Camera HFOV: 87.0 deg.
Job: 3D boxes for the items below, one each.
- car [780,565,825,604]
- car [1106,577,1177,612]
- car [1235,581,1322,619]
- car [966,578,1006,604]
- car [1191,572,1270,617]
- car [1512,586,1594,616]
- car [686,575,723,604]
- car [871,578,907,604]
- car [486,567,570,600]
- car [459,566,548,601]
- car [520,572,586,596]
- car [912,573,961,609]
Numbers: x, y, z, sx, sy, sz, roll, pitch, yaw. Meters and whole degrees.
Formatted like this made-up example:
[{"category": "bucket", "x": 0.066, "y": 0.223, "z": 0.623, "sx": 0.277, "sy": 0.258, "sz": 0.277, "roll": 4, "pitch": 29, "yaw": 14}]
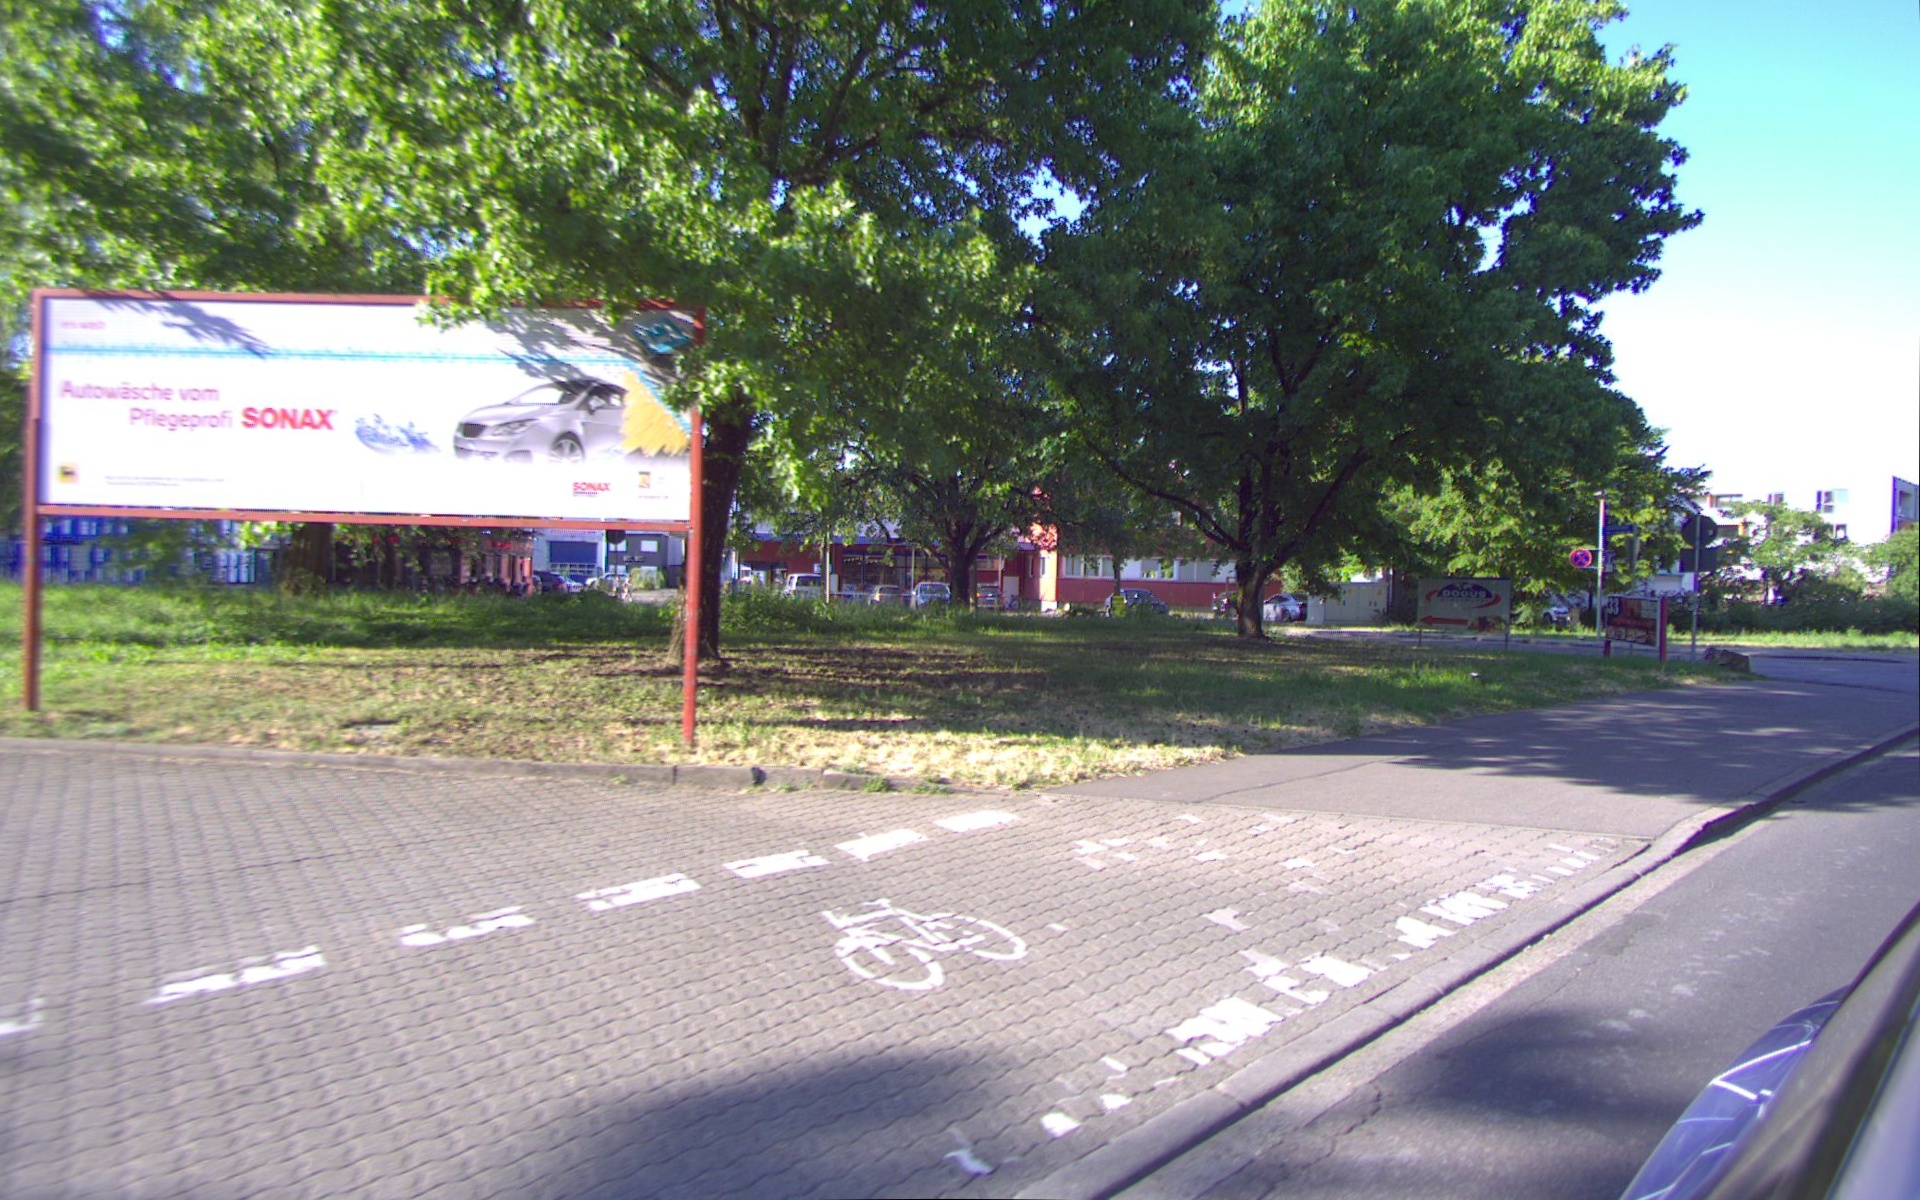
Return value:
[{"category": "car", "x": -8.683, "y": -0.793, "z": 55.537, "sx": 1.852, "sy": 2.000, "sz": 4.657, "roll": 0, "pitch": -1, "yaw": -16}, {"category": "car", "x": 8.138, "y": -0.232, "z": 45.905, "sx": 1.752, "sy": 1.495, "sz": 4.674, "roll": 0, "pitch": -1, "yaw": -9}, {"category": "car", "x": 14.348, "y": -0.022, "z": 45.806, "sx": 1.959, "sy": 1.614, "sz": 4.452, "roll": 0, "pitch": 0, "yaw": -9}, {"category": "car", "x": 1.437, "y": -0.498, "z": 58.037, "sx": 1.651, "sy": 1.444, "sz": 3.558, "roll": 0, "pitch": -1, "yaw": -9}, {"category": "car", "x": 12.032, "y": -0.291, "z": 45.295, "sx": 1.671, "sy": 1.840, "sz": 4.454, "roll": 1, "pitch": 2, "yaw": -9}, {"category": "car", "x": 34.918, "y": 0.018, "z": 59.688, "sx": 1.869, "sy": 1.593, "sz": 4.010, "roll": 0, "pitch": 2, "yaw": -14}, {"category": "car", "x": -13.689, "y": -0.541, "z": 54.351, "sx": 1.651, "sy": 1.501, "sz": 3.950, "roll": 0, "pitch": -1, "yaw": -10}, {"category": "car", "x": -3.989, "y": -0.458, "z": 56.570, "sx": 1.651, "sy": 1.368, "sz": 3.558, "roll": 0, "pitch": -1, "yaw": -9}, {"category": "car", "x": -23.274, "y": -0.860, "z": 54.625, "sx": 3.787, "sy": 1.710, "sz": 1.703, "roll": 0, "pitch": -1, "yaw": -6}, {"category": "car", "x": -23.139, "y": -0.835, "z": 51.409, "sx": 3.787, "sy": 1.710, "sz": 1.703, "roll": 0, "pitch": -1, "yaw": -6}, {"category": "car", "x": -25.878, "y": -1.026, "z": 64.438, "sx": 3.574, "sy": 1.481, "sz": 1.704, "roll": 0, "pitch": -1, "yaw": -6}, {"category": "car", "x": -1.071, "y": -0.350, "z": 44.277, "sx": 1.752, "sy": 1.495, "sz": 4.202, "roll": 0, "pitch": -1, "yaw": -7}]
